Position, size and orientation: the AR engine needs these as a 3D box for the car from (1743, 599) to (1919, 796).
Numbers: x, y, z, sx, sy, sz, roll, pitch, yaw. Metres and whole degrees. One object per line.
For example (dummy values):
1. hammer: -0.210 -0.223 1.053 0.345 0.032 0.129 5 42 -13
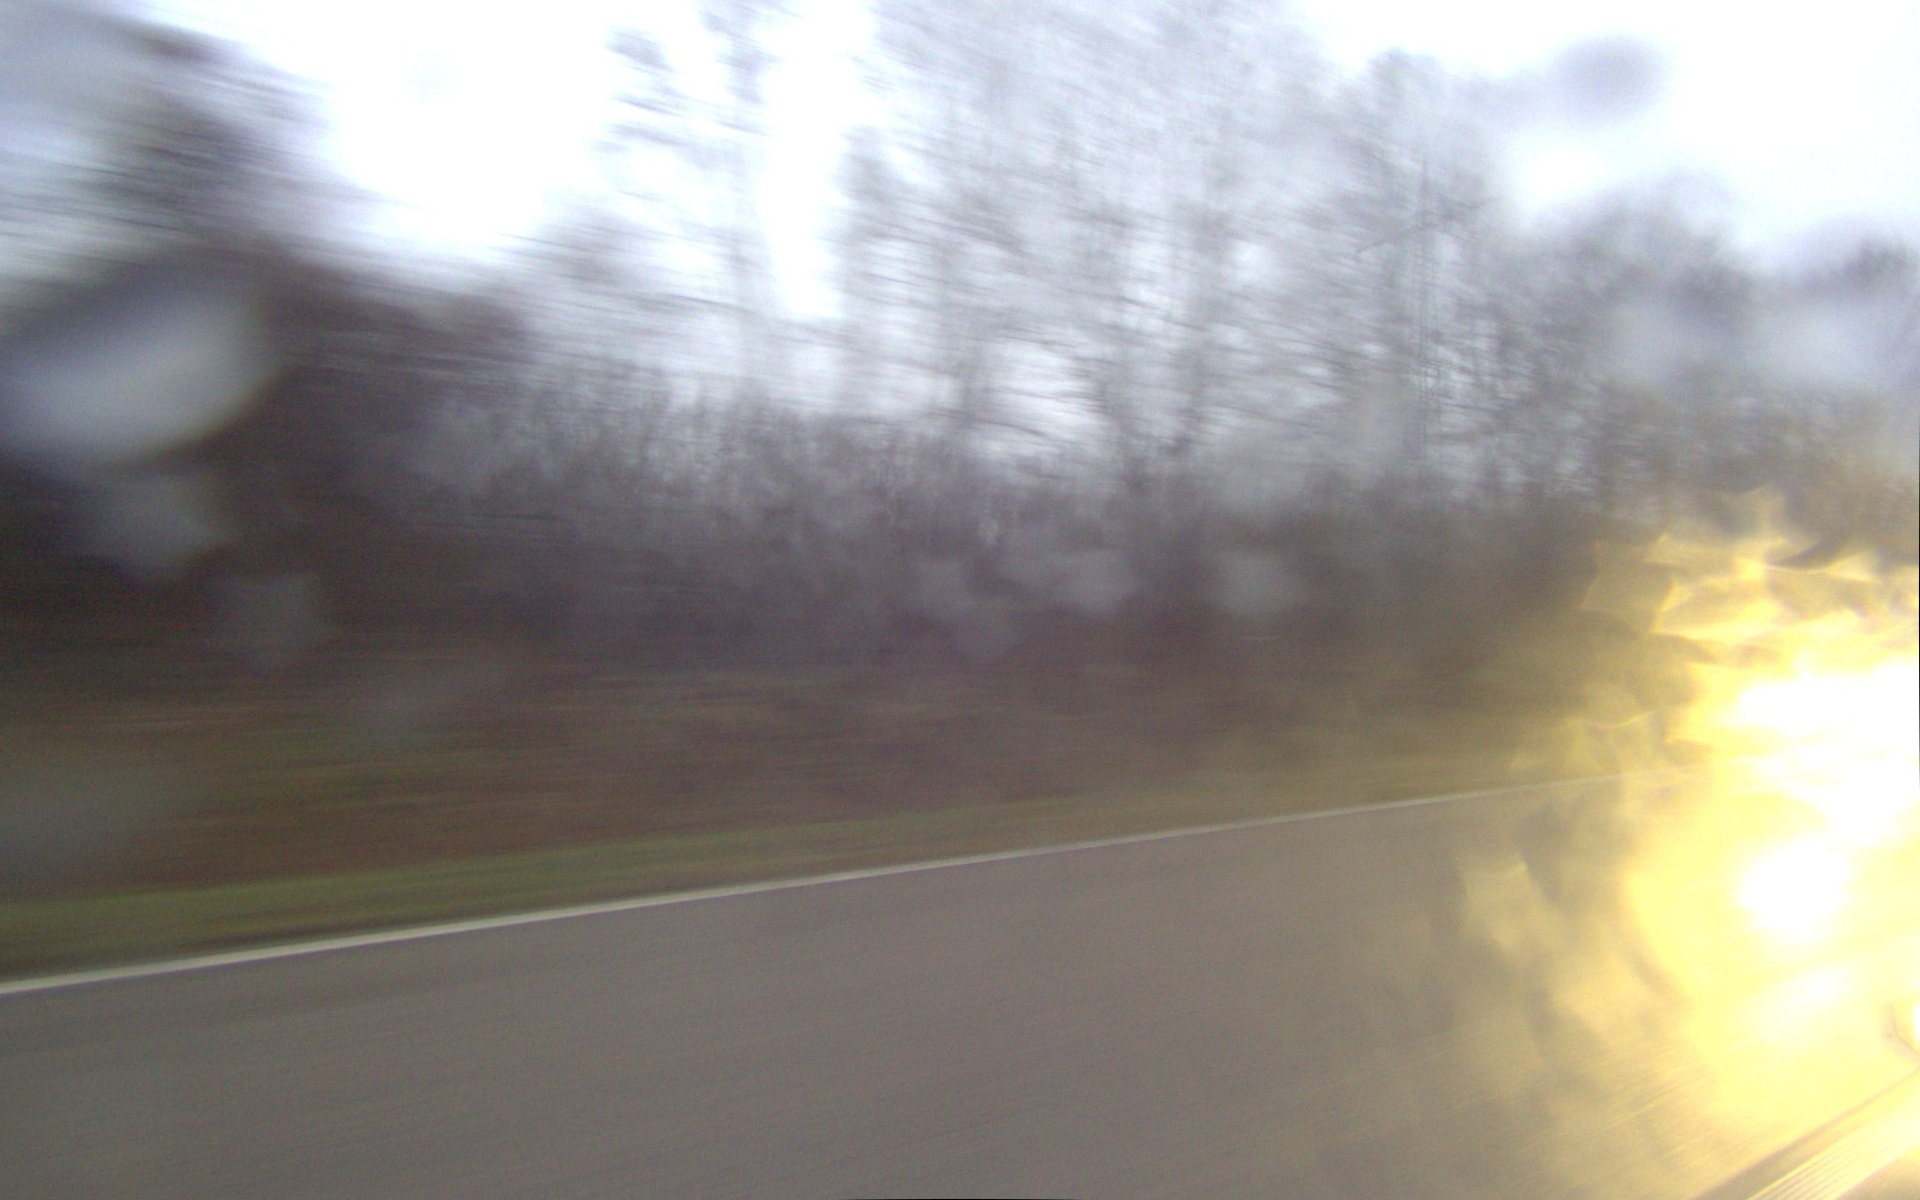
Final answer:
1. car: 9.562 0.844 9.649 4.147 1.628 1.862 1 0 -31
